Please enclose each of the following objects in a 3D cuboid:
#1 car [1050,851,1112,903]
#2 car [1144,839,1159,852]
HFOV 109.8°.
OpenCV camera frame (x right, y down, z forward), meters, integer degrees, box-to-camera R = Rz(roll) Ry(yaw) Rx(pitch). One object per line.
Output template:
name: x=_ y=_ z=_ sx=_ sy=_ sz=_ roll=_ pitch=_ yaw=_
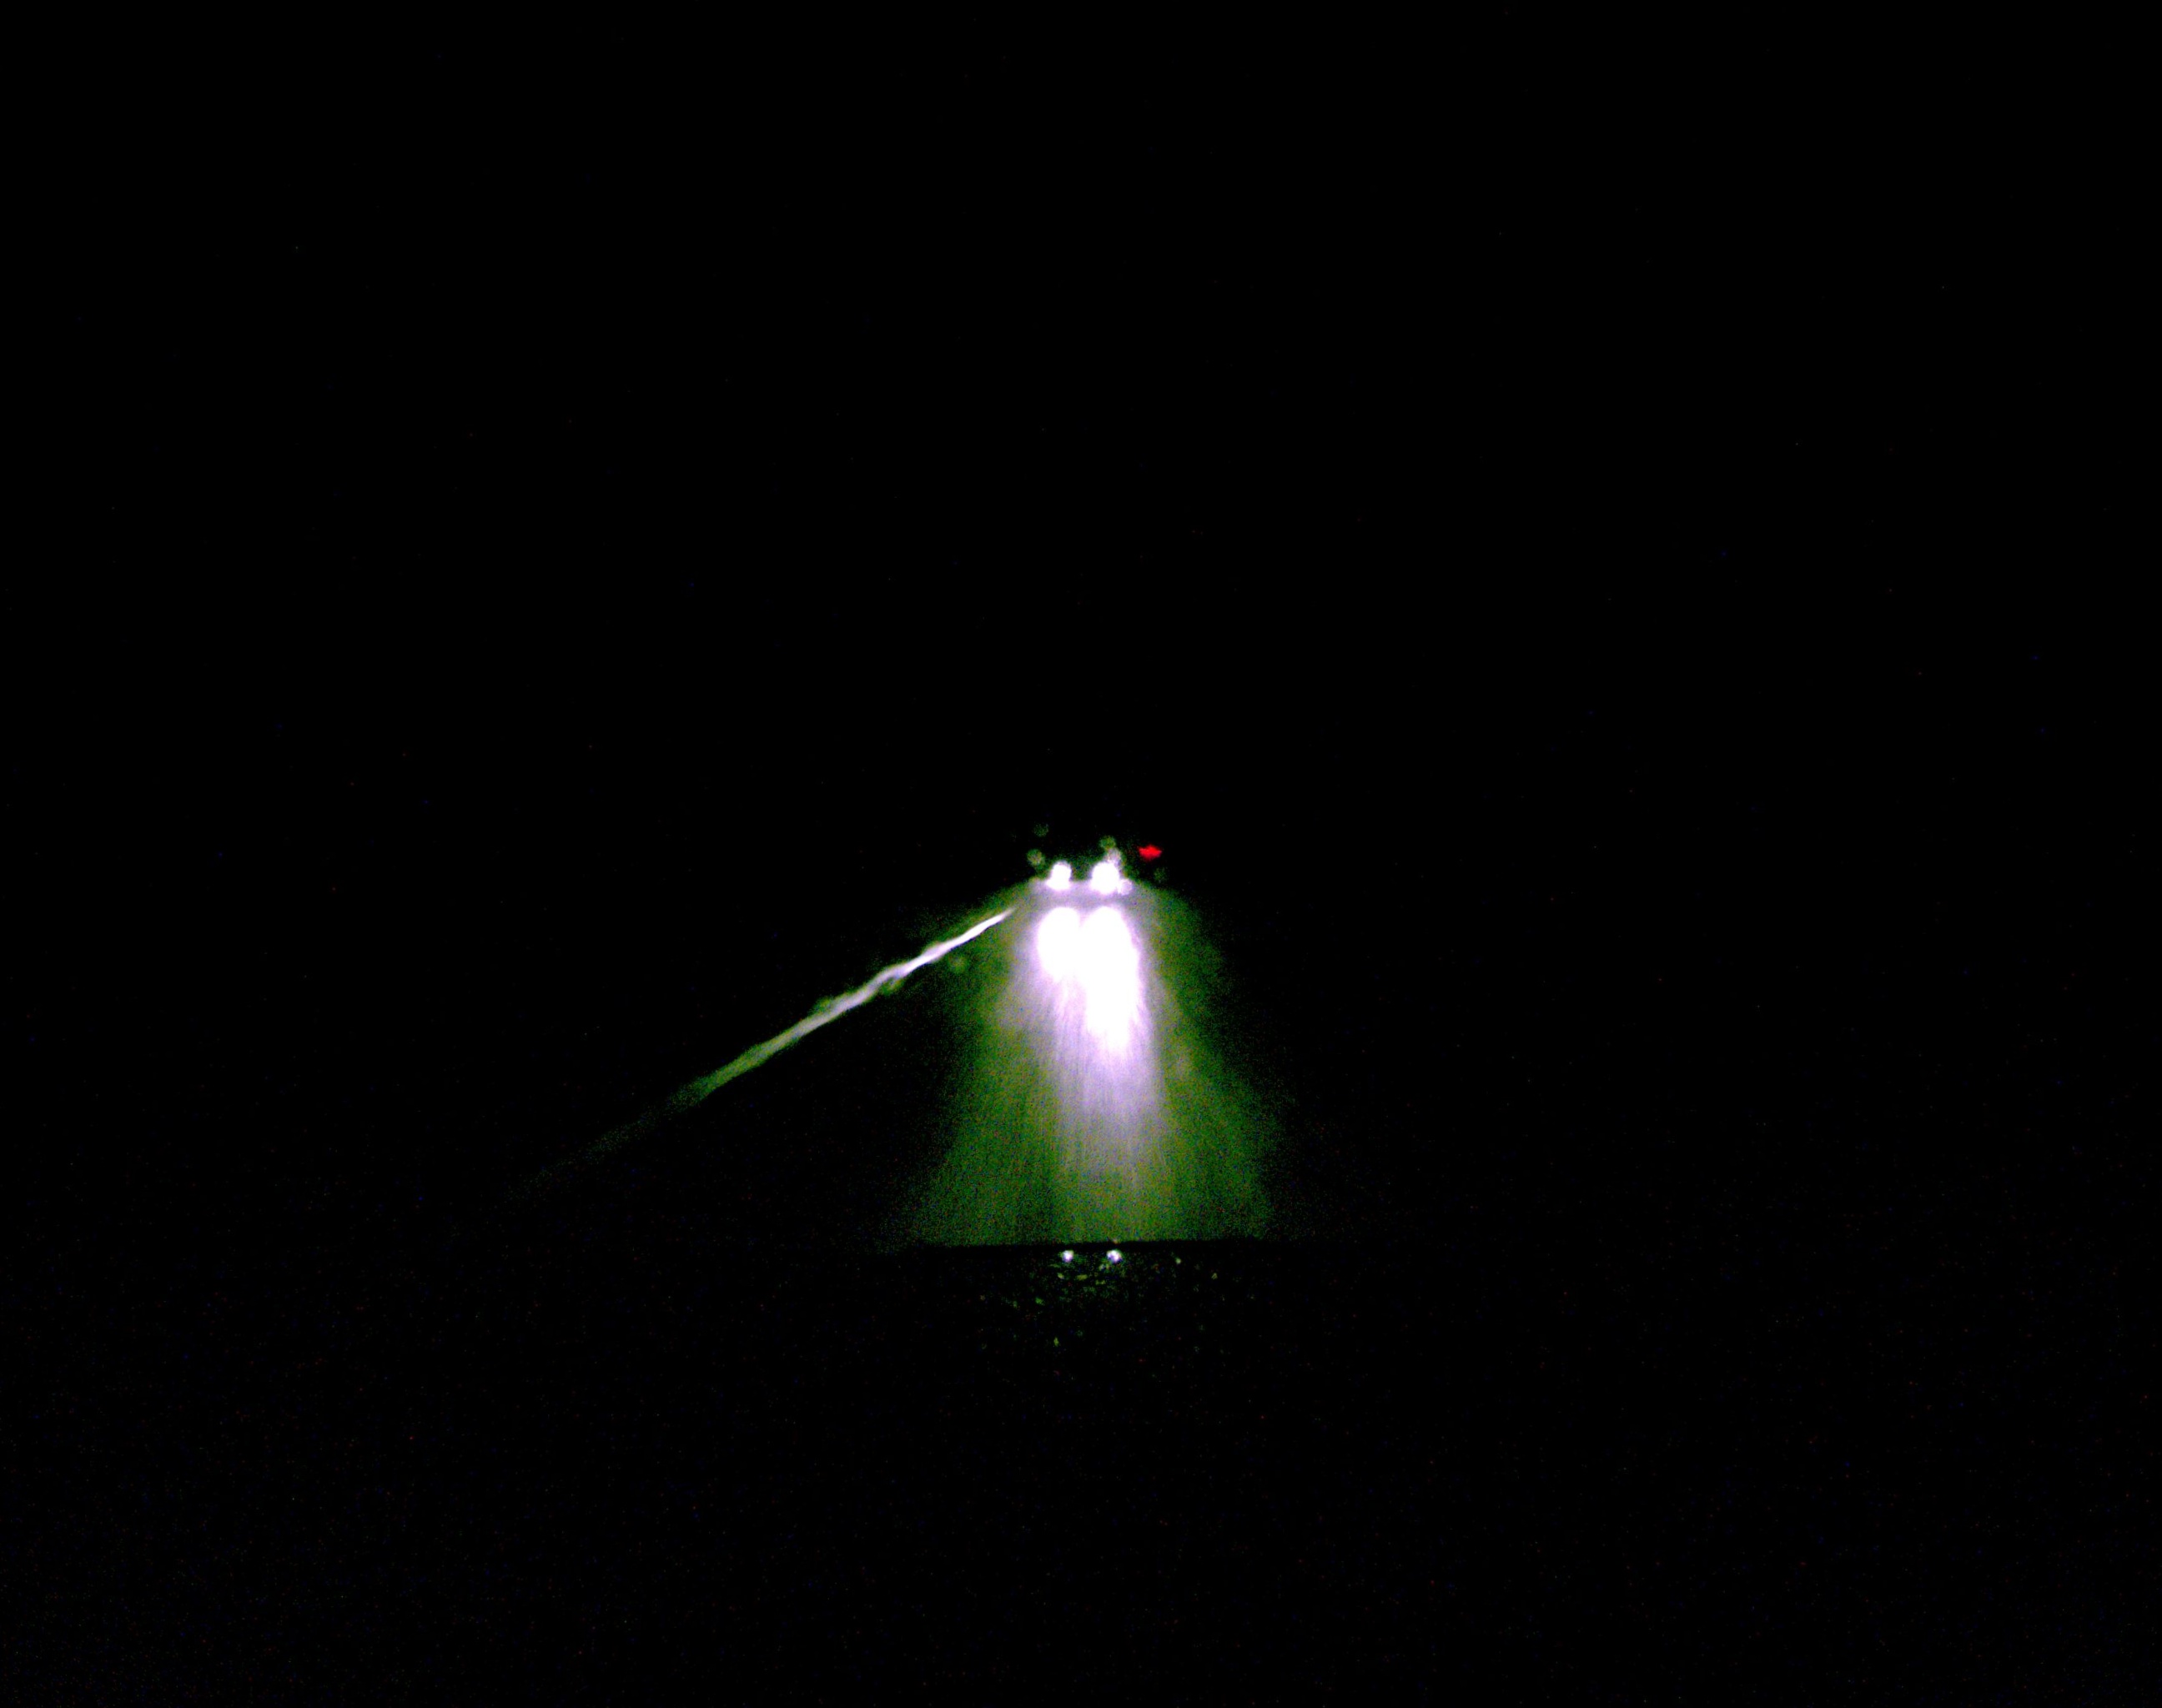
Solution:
car: x=0.066 y=0.743 z=26.561 sx=1.792 sy=1.593 sz=4.001 roll=-3 pitch=0 yaw=4
car: x=9.908 y=-1.211 z=106.765 sx=1.998 sy=1.806 sz=4.000 roll=0 pitch=1 yaw=4
